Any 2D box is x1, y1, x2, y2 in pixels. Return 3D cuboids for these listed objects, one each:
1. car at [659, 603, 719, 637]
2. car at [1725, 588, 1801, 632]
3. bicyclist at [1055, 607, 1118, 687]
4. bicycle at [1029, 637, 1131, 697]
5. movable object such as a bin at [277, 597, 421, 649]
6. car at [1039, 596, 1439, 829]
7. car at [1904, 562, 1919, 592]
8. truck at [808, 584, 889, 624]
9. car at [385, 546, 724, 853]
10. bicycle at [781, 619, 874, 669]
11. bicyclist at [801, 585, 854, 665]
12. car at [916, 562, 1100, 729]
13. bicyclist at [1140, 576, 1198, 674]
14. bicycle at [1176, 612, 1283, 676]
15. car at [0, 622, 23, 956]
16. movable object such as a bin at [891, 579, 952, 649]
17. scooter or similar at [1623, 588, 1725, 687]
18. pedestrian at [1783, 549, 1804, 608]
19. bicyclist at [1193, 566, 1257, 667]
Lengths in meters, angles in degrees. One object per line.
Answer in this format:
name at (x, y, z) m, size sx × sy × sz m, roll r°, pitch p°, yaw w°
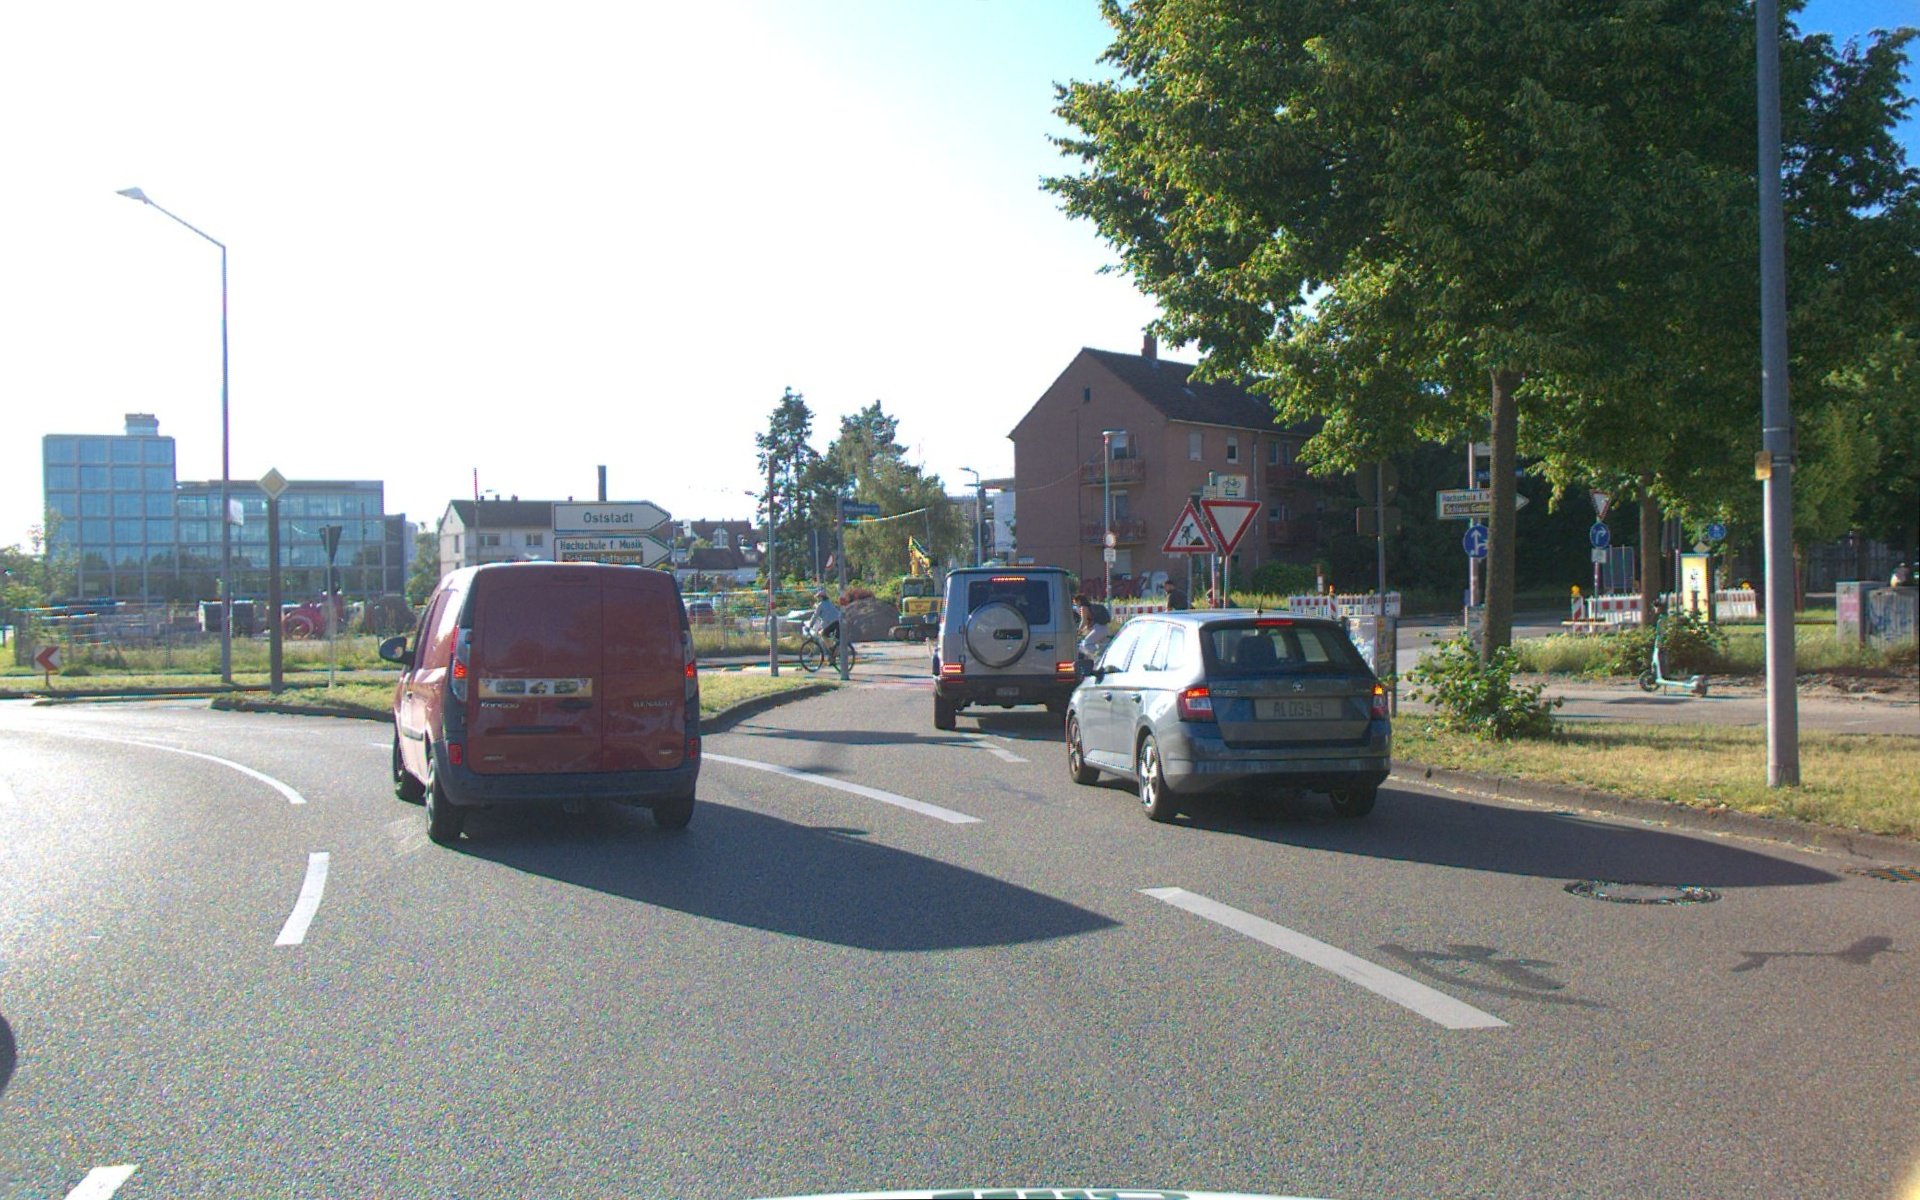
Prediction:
car at (-16.451, 1.198, 100.330) m, size 1.975 × 2.049 × 4.448 m, roll 1°, pitch -1°, yaw -33°
car at (35.926, 0.455, 73.923) m, size 1.966 × 1.904 × 3.973 m, roll 0°, pitch -1°, yaw 44°
bicyclist at (2.270, 0.831, 29.657) m, size 0.918 × 1.409 × 0.657 m, roll -1°, pitch -1°, yaw 40°
bicycle at (2.148, 1.194, 29.744) m, size 1.790 × 1.046 × 0.656 m, roll -1°, pitch -1°, yaw 41°
movable object such as a bin at (-36.396, 1.318, 98.542) m, size 7.812 × 2.831 × 2.918 m, roll -1°, pitch 0°, yaw -27°
car at (1.928, 0.737, 12.773) m, size 1.683 × 1.461 × 4.140 m, roll -1°, pitch 0°, yaw -11°
car at (64.860, -1.508, 110.724) m, size 1.966 × 1.904 × 3.973 m, roll 0°, pitch -1°, yaw 44°
truck at (-5.989, 0.219, 88.061) m, size 2.137 × 2.049 × 6.383 m, roll 1°, pitch -1°, yaw -26°
car at (-3.101, 0.599, 12.077) m, size 1.779 × 1.845 × 3.781 m, roll -1°, pitch 0°, yaw -24°
bicycle at (-2.934, 0.959, 36.576) m, size 1.966 × 1.045 × 0.741 m, roll 0°, pitch 2°, yaw 30°
bicyclist at (-2.922, 0.545, 36.533) m, size 0.835 × 1.709 × 0.741 m, roll -1°, pitch 2°, yaw 29°
car at (0.503, 0.550, 21.826) m, size 1.957 × 1.930 × 4.749 m, roll -1°, pitch 0°, yaw -4°
bicyclist at (3.829, 0.462, 30.314) m, size 0.649 × 1.760 × 0.800 m, roll 0°, pitch -1°, yaw -43°
bicycle at (4.560, 0.729, 28.106) m, size 0.655 × 1.046 × 1.795 m, roll 1°, pitch -1°, yaw -42°
car at (-4.583, 0.811, 4.916) m, size 1.728 × 1.404 × 4.348 m, roll -1°, pitch 0°, yaw -10°
movable object such as a bin at (-1.636, 0.592, 68.768) m, size 2.371 × 2.822 × 3.997 m, roll 0°, pitch -1°, yaw -3°
scooter or similar at (9.444, 0.499, 21.914) m, size 0.438 × 1.270 × 1.254 m, roll 1°, pitch -2°, yaw -26°
pedestrian at (29.375, -0.753, 58.280) m, size 0.450 × 2.049 × 0.465 m, roll -1°, pitch 0°, yaw -40°
bicyclist at (4.512, 0.283, 28.167) m, size 0.655 × 1.694 × 0.885 m, roll 1°, pitch -1°, yaw -42°
